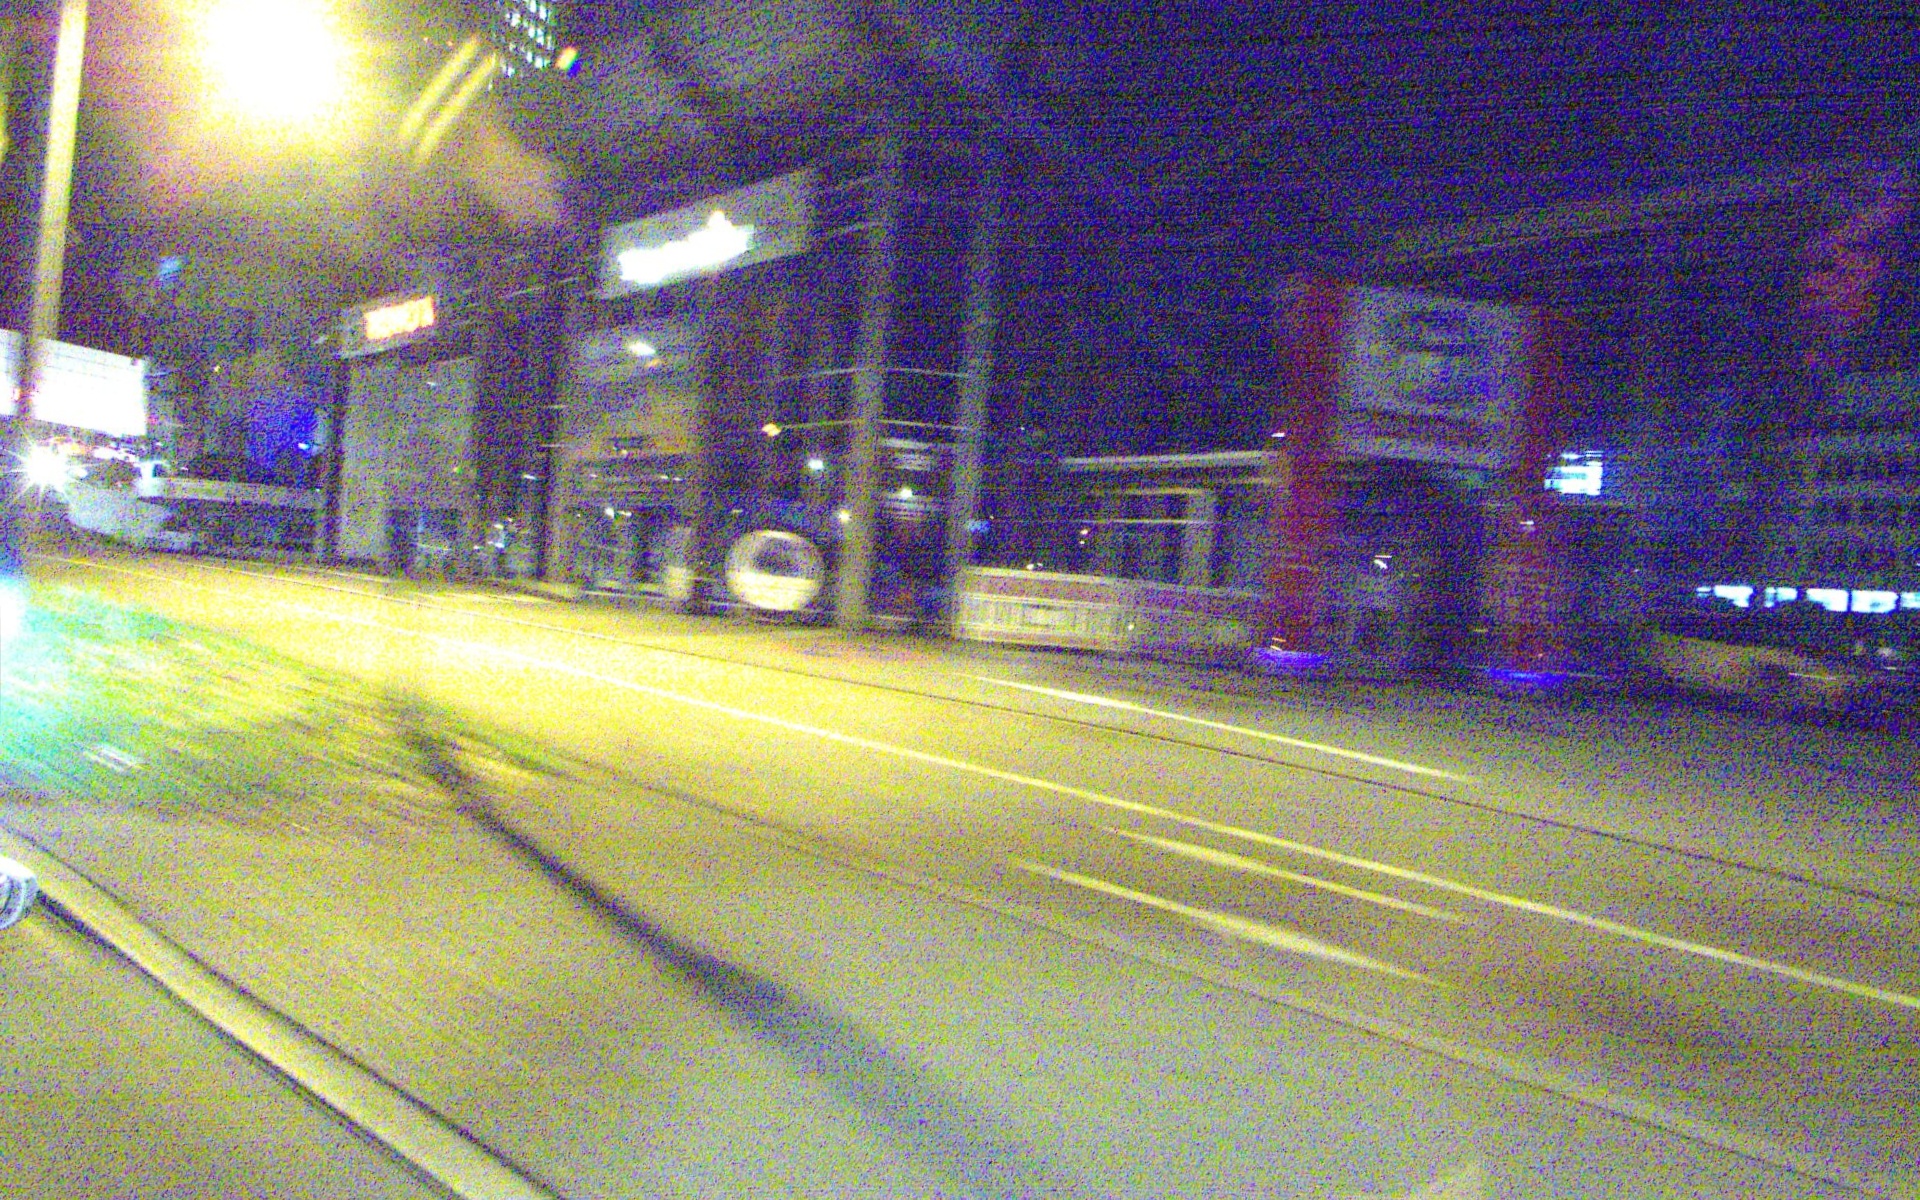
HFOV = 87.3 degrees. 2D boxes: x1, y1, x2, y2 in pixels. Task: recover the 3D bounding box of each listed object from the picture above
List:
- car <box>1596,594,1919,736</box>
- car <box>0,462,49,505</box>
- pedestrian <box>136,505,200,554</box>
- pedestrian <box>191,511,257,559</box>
[{"bbox_3d":[11.882,0.871,15.049,1.706,1.548,3.770,3,4,-13],"label":"car"},{"bbox_3d":[-41.766,-5.114,44.215,3.583,1.529,1.892,5,-2,39],"label":"car"},{"bbox_3d":[-19.170,-1.687,24.369,0.899,1.051,0.769,6,1,-15],"label":"pedestrian"},{"bbox_3d":[-18.548,-1.637,25.352,0.757,1.019,1.002,6,-2,16],"label":"pedestrian"}]
